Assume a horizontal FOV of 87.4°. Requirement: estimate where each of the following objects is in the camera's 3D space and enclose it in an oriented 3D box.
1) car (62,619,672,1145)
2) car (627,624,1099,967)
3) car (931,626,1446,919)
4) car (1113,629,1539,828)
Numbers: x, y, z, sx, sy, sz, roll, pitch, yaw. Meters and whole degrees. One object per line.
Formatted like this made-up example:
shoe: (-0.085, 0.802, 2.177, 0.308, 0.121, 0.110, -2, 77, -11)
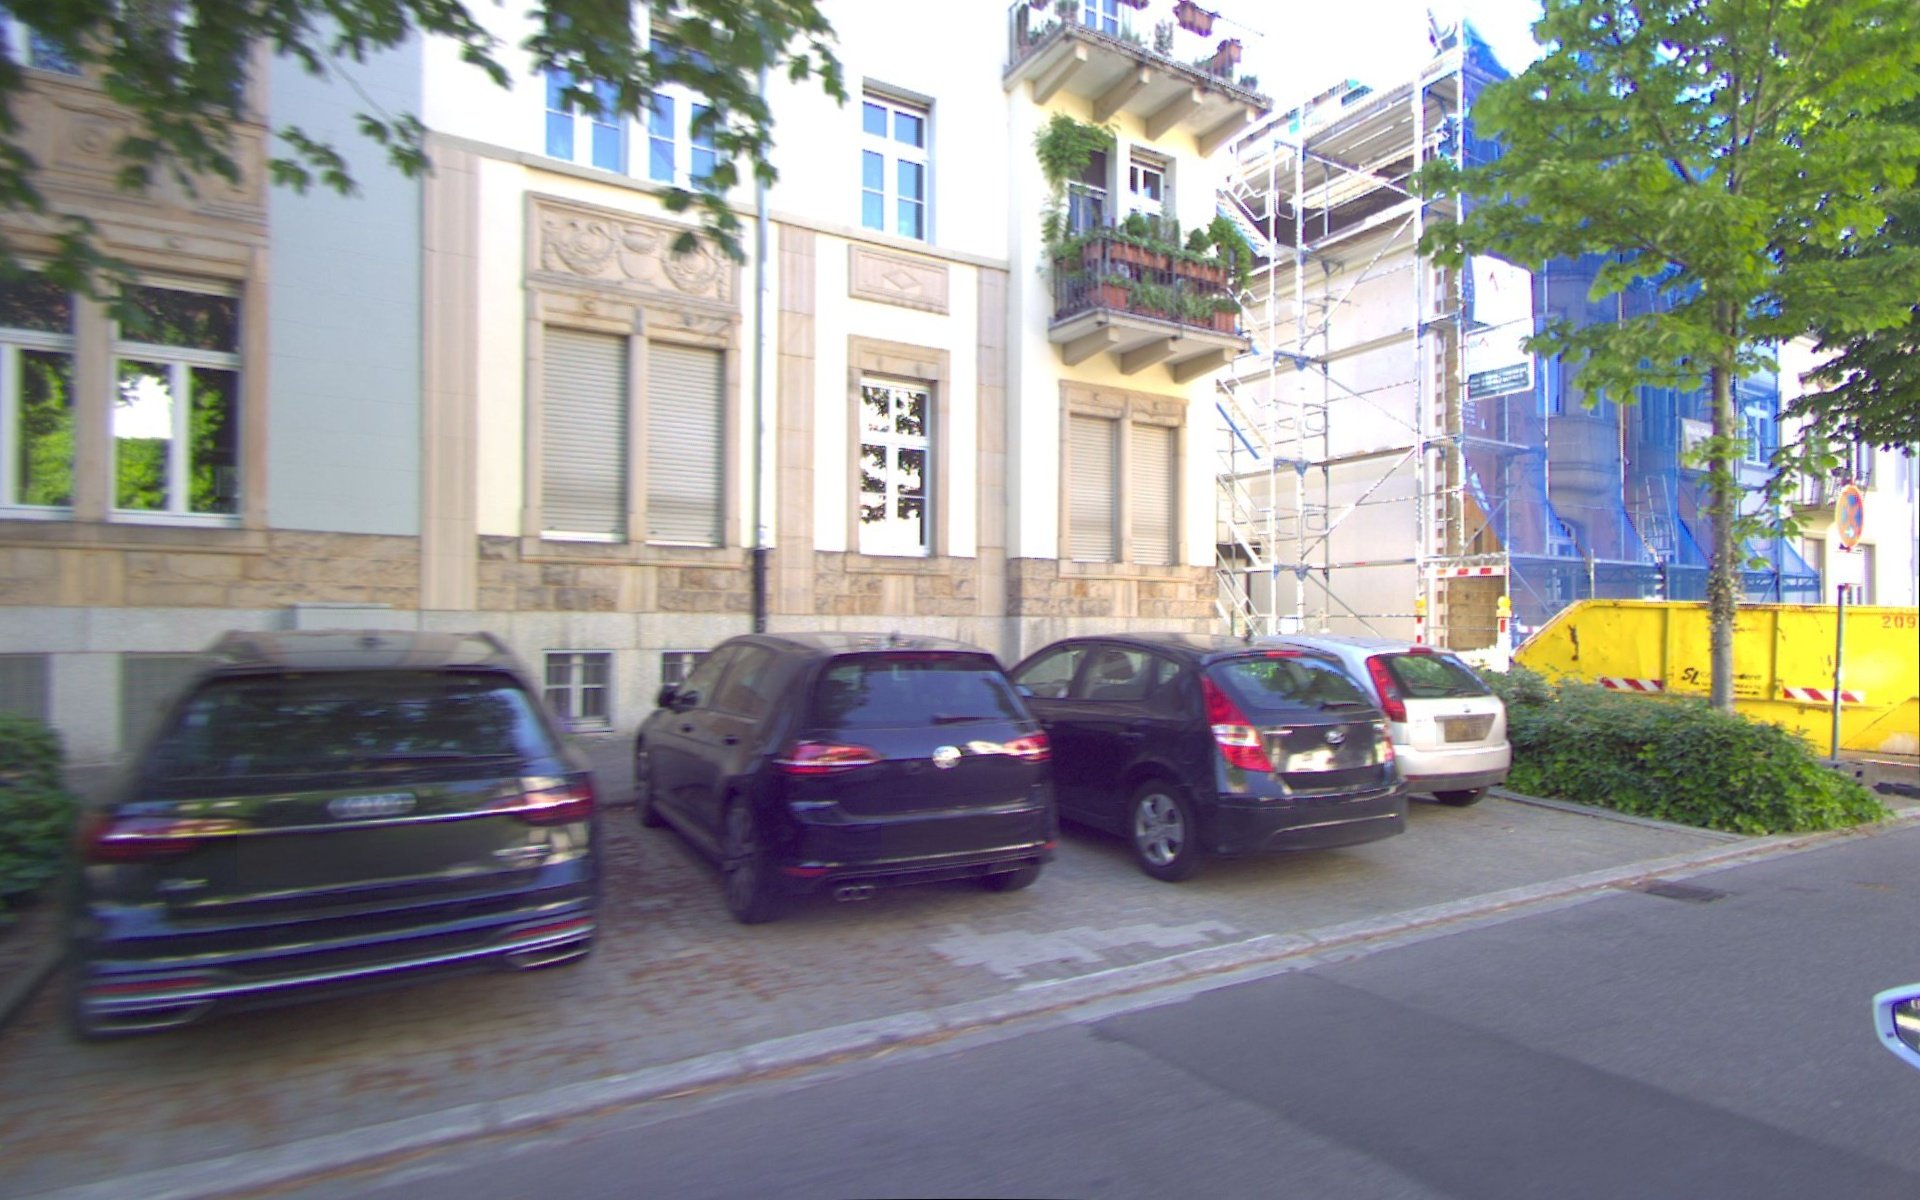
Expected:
car: (-2.804, 0.840, 5.057, 1.690, 1.419, 4.120, 1, 0, -30)
car: (-0.900, 0.899, 6.385, 1.626, 1.450, 3.731, 1, -1, -29)
car: (1.368, 0.968, 7.394, 1.693, 1.484, 3.710, 0, 0, -28)
car: (3.176, 1.028, 9.389, 1.675, 1.467, 3.535, 1, -2, -29)
